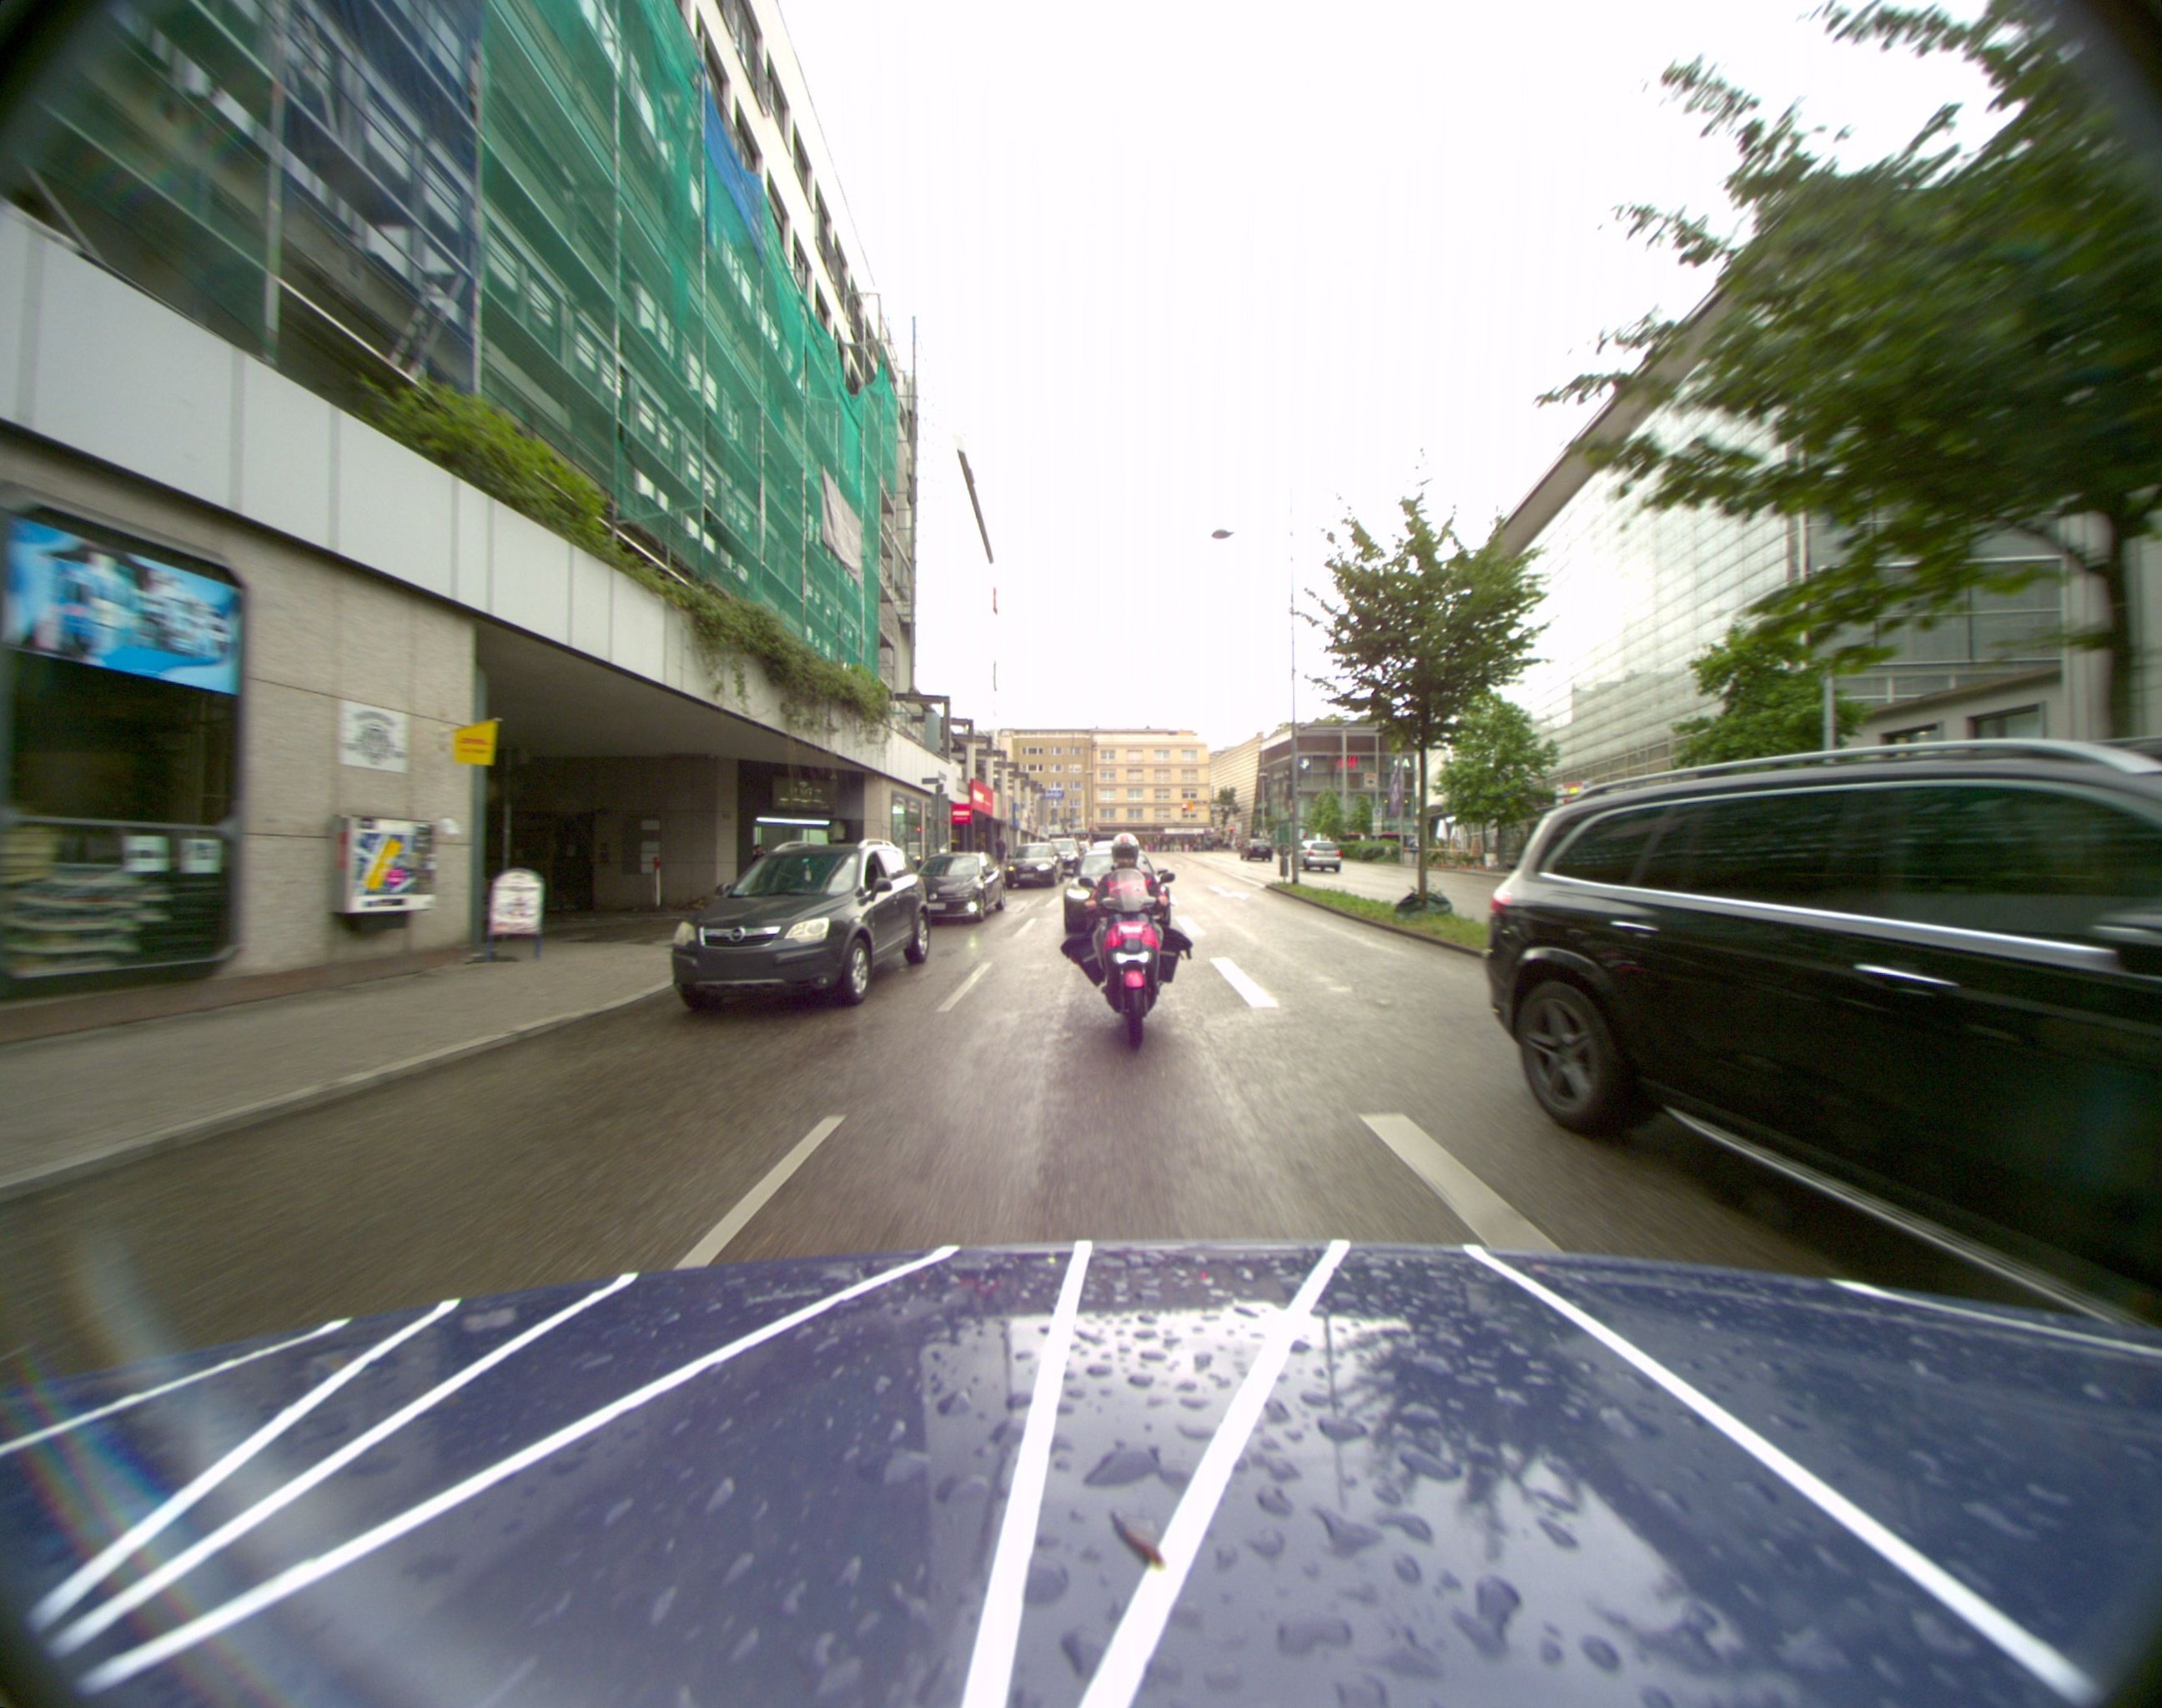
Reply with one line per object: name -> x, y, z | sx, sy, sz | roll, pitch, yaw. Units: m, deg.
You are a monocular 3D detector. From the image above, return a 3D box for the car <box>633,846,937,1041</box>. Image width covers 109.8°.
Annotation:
car -> -3.105, 0.807, 9.062 | 1.735, 1.669, 4.248 | -2, 2, 3

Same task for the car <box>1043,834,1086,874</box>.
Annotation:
car -> -0.721, -0.051, 36.130 | 1.832, 1.726, 3.999 | 1, 2, 1

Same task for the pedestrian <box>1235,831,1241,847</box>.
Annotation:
pedestrian -> 19.099, -1.826, 92.297 | 0.605, 1.831, 0.588 | -2, 2, 1

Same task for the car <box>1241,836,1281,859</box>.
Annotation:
car -> 12.532, -0.501, 53.170 | 1.998, 1.500, 4.185 | 0, 2, 3

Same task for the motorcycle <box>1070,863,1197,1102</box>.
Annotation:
motorcycle -> 0.355, 0.875, 6.465 | 0.832, 1.479, 2.864 | 0, 2, 0

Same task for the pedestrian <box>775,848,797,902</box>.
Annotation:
pedestrian -> -8.380, 0.589, 21.580 | 0.429, 1.480, 0.524 | 1, 2, -1

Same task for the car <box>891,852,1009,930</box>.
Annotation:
car -> -2.770, 0.737, 16.956 | 1.681, 1.422, 3.777 | -1, 2, 4

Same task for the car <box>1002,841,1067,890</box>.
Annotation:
car -> -1.647, 0.371, 28.310 | 1.776, 1.575, 4.000 | -2, 2, 5

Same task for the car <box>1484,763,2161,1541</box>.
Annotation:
car -> 3.428, 0.634, 2.124 | 1.998, 1.767, 4.884 | -2, 2, 0

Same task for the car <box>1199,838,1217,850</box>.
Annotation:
car -> 21.583, -1.749, 129.296 | 1.999, 2.002, 3.997 | -2, 2, -6

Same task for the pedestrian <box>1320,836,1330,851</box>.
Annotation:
pedestrian -> 30.932, -1.340, 96.361 | 0.986, 1.888, 0.739 | -3, 2, -16

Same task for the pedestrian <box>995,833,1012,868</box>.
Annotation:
pedestrian -> -4.105, -0.198, 40.380 | 0.708, 1.771, 0.640 | 5, 7, 2

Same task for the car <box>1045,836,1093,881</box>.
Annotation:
car -> -0.448, 0.138, 32.165 | 1.832, 1.726, 3.999 | 1, 2, 1

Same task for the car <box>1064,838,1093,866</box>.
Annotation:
car -> -0.115, -0.193, 50.661 | 1.832, 1.726, 3.999 | 1, 2, 1

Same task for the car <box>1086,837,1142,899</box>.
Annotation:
car -> 1.014, 0.389, 24.211 | 1.632, 1.732, 3.598 | 1, 3, 1

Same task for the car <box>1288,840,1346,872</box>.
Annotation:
car -> 11.341, 0.058, 36.718 | 1.629, 1.429, 3.646 | 0, 2, 0

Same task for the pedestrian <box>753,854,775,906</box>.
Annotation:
pedestrian -> -9.161, 0.733, 21.941 | 0.525, 1.480, 0.428 | -1, 3, -31

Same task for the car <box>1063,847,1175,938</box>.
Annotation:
car -> 0.705, 0.655, 15.417 | 1.937, 1.511, 4.468 | -1, 1, 1

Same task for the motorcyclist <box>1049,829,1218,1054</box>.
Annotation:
motorcyclist -> 0.425, 0.690, 6.474 | 1.296, 1.757, 0.845 | -2, 2, 0
